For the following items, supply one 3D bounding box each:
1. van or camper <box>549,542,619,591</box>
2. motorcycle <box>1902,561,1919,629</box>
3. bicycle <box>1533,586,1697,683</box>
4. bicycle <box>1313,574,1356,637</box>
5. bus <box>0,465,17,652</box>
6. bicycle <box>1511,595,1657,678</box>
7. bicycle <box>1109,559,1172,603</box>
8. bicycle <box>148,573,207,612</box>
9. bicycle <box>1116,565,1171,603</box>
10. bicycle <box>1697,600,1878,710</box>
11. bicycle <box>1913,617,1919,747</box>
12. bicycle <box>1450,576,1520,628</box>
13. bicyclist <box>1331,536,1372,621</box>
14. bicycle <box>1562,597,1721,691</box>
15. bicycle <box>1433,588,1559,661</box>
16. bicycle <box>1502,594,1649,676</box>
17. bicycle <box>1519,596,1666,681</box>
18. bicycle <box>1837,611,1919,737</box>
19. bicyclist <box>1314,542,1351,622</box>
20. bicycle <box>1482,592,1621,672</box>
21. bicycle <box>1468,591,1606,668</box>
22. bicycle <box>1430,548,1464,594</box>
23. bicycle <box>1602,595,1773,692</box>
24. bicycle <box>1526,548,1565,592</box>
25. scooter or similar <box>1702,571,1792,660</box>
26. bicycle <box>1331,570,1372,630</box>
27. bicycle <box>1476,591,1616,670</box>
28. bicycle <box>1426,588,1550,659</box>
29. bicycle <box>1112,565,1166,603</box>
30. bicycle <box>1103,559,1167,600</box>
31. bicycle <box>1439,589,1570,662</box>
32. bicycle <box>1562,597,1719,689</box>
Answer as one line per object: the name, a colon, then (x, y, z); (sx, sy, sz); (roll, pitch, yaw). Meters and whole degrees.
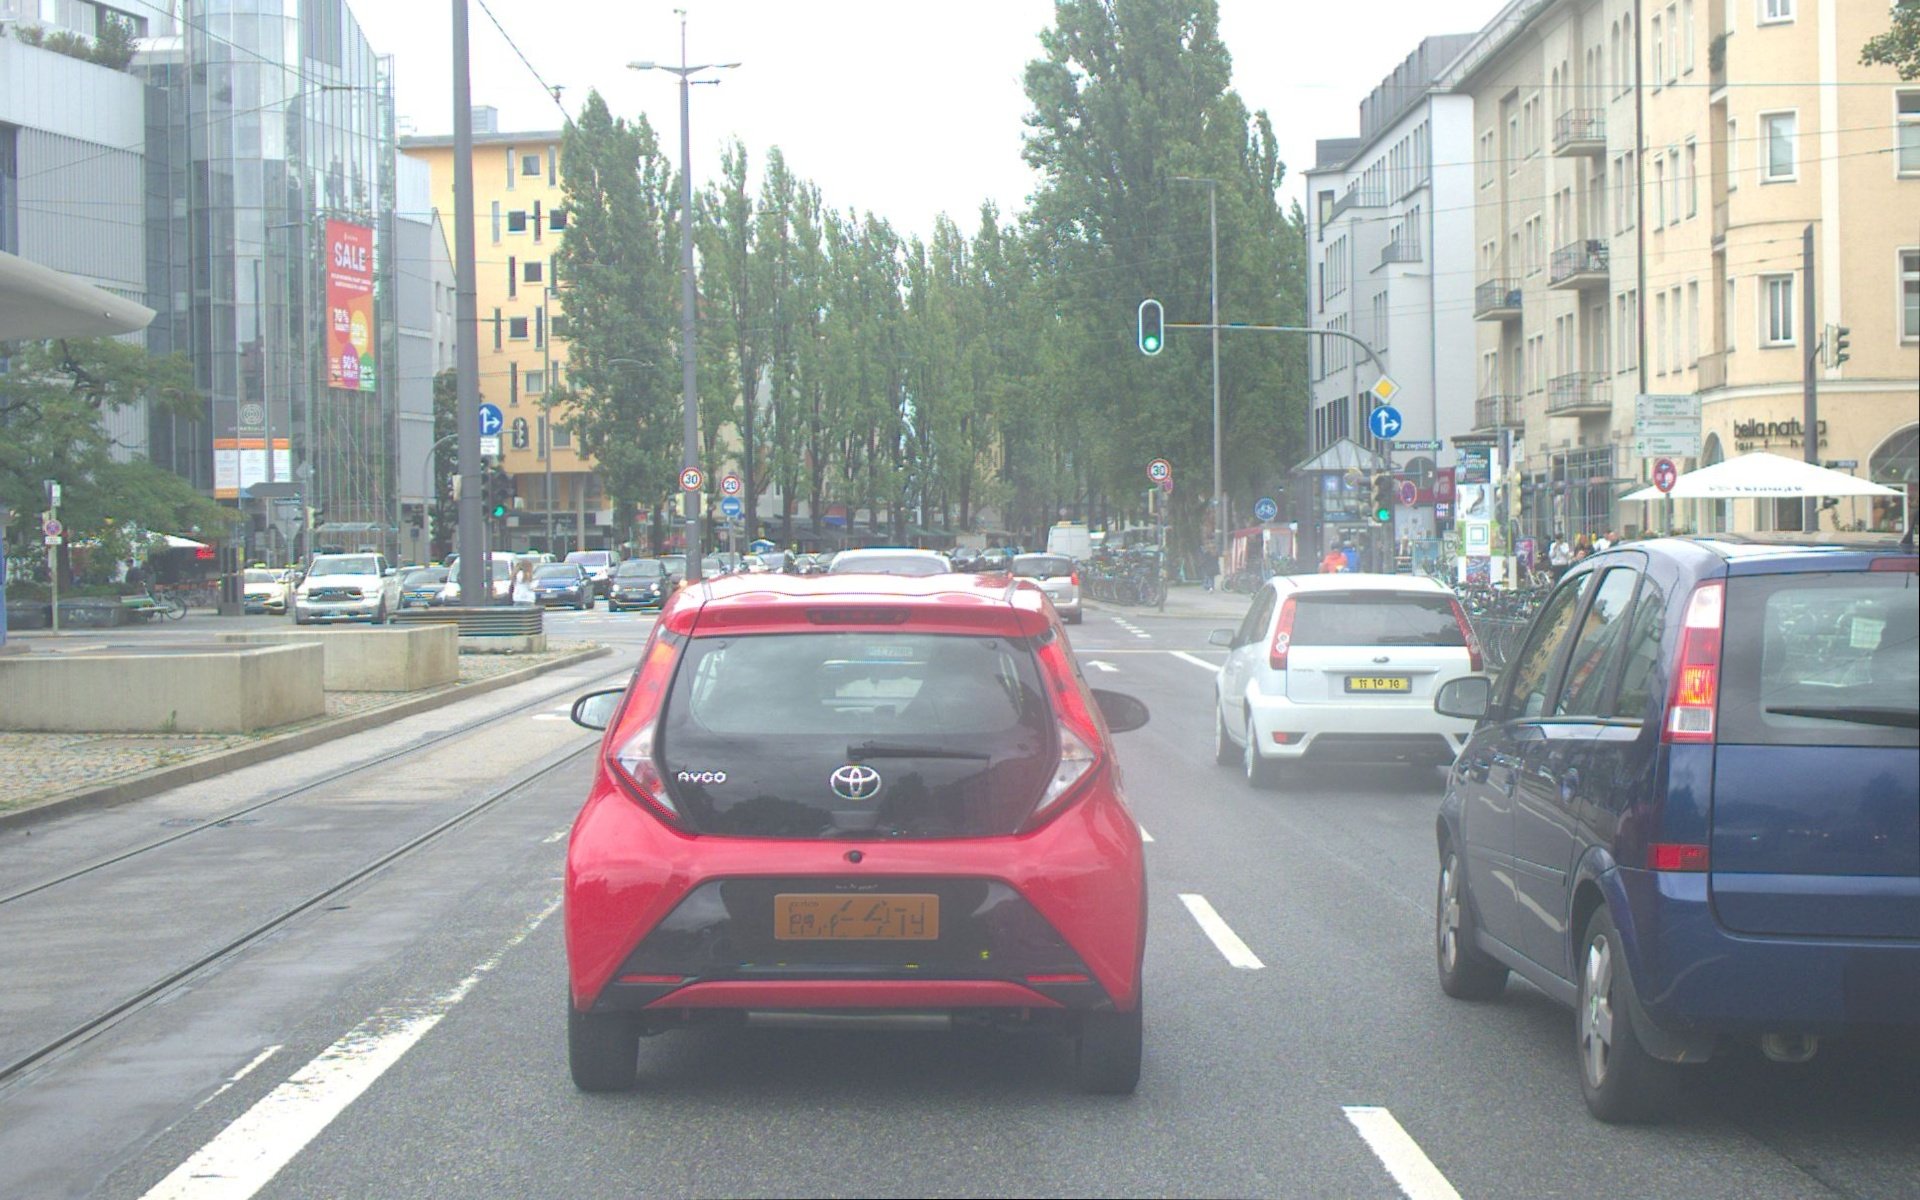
van or camper: (-14.382, -1.311, 131.661); (1.928, 1.819, 5.440); (-1, 1, 1)
motorcycle: (16.506, -0.086, 58.540); (0.486, 1.152, 1.571); (-1, 1, 0)
bicycle: (7.688, 0.401, 40.401); (1.839, 1.109, 0.466); (0, 1, 32)
bicycle: (7.826, 0.107, 71.910); (0.614, 1.260, 2.520); (-1, 1, 0)
bus: (-16.626, -0.562, 51.886); (2.660, 2.997, 7.514); (-2, 1, -1)
bicycle: (7.589, 0.445, 41.878); (1.841, 0.992, 0.347); (-1, 1, 44)
bicycle: (5.002, -0.539, 95.415); (1.803, 1.194, 0.558); (0, 1, 43)
bicycle: (-22.267, -0.215, 97.856); (1.574, 1.108, 0.373); (0, 1, 4)
bicycle: (5.009, -0.430, 93.900); (0.498, 1.025, 1.601); (-2, 1, -42)
bicycle: (8.070, 0.527, 33.592); (0.324, 0.992, 1.841); (-2, 3, -43)
bicycle: (8.022, 0.648, 25.682); (0.374, 0.992, 1.841); (-1, 3, -39)
bicycle: (12.328, 0.051, 80.723); (1.568, 1.156, 0.525); (-2, 3, 3)
bicyclist: (8.727, -0.481, 76.572); (0.762, 1.863, 1.133); (-1, 1, 0)
bicycle: (7.733, 0.491, 39.072); (1.840, 0.992, 0.324); (2, 3, 40)
bicycle: (7.487, 0.345, 48.101); (1.840, 0.992, 0.347); (-1, 1, 43)
bicycle: (7.606, 0.435, 42.543); (1.840, 0.992, 0.347); (-1, 1, 40)
bicycle: (7.553, 0.456, 41.104); (1.841, 0.992, 0.324); (0, 1, 44)
bicycle: (8.047, 0.616, 27.808); (1.840, 0.992, 0.374); (2, 3, 38)
bicyclist: (7.805, -0.387, 72.053); (0.614, 1.652, 1.251); (-1, 1, 0)
bicycle: (7.550, 0.412, 43.950); (1.841, 0.992, 0.347); (-1, 1, 44)
bicycle: (7.585, 0.391, 45.269); (1.840, 0.992, 0.347); (-1, 1, 39)
bicycle: (12.072, -0.725, 85.229); (0.566, 1.104, 1.866); (-1, 1, 0)
bicycle: (7.913, 0.464, 37.440); (1.840, 0.992, 0.324); (2, 3, 36)
bicycle: (14.525, -0.753, 85.341); (0.494, 1.055, 1.867); (-1, 1, -5)
scooter or similar: (9.753, 0.180, 42.653); (0.775, 1.071, 1.256); (-1, 1, -2)
bicycle: (8.704, -0.012, 76.463); (0.614, 1.260, 2.520); (-1, 1, 0)
bicycle: (7.594, 0.402, 44.614); (1.840, 0.992, 0.347); (-1, 1, 39)
bicycle: (7.481, 0.335, 48.767); (1.840, 0.992, 0.347); (-1, 1, 43)
bicycle: (4.926, -0.447, 94.756); (0.498, 1.025, 1.601); (-2, 1, -42)
bicycle: (4.934, -0.574, 96.808); (1.803, 1.154, 0.547); (0, 1, 38)
bicycle: (7.500, 0.356, 47.414); (1.840, 0.992, 0.347); (-1, 1, 39)
bicycle: (7.841, 0.485, 39.649); (1.840, 0.992, 0.324); (2, 3, 40)
